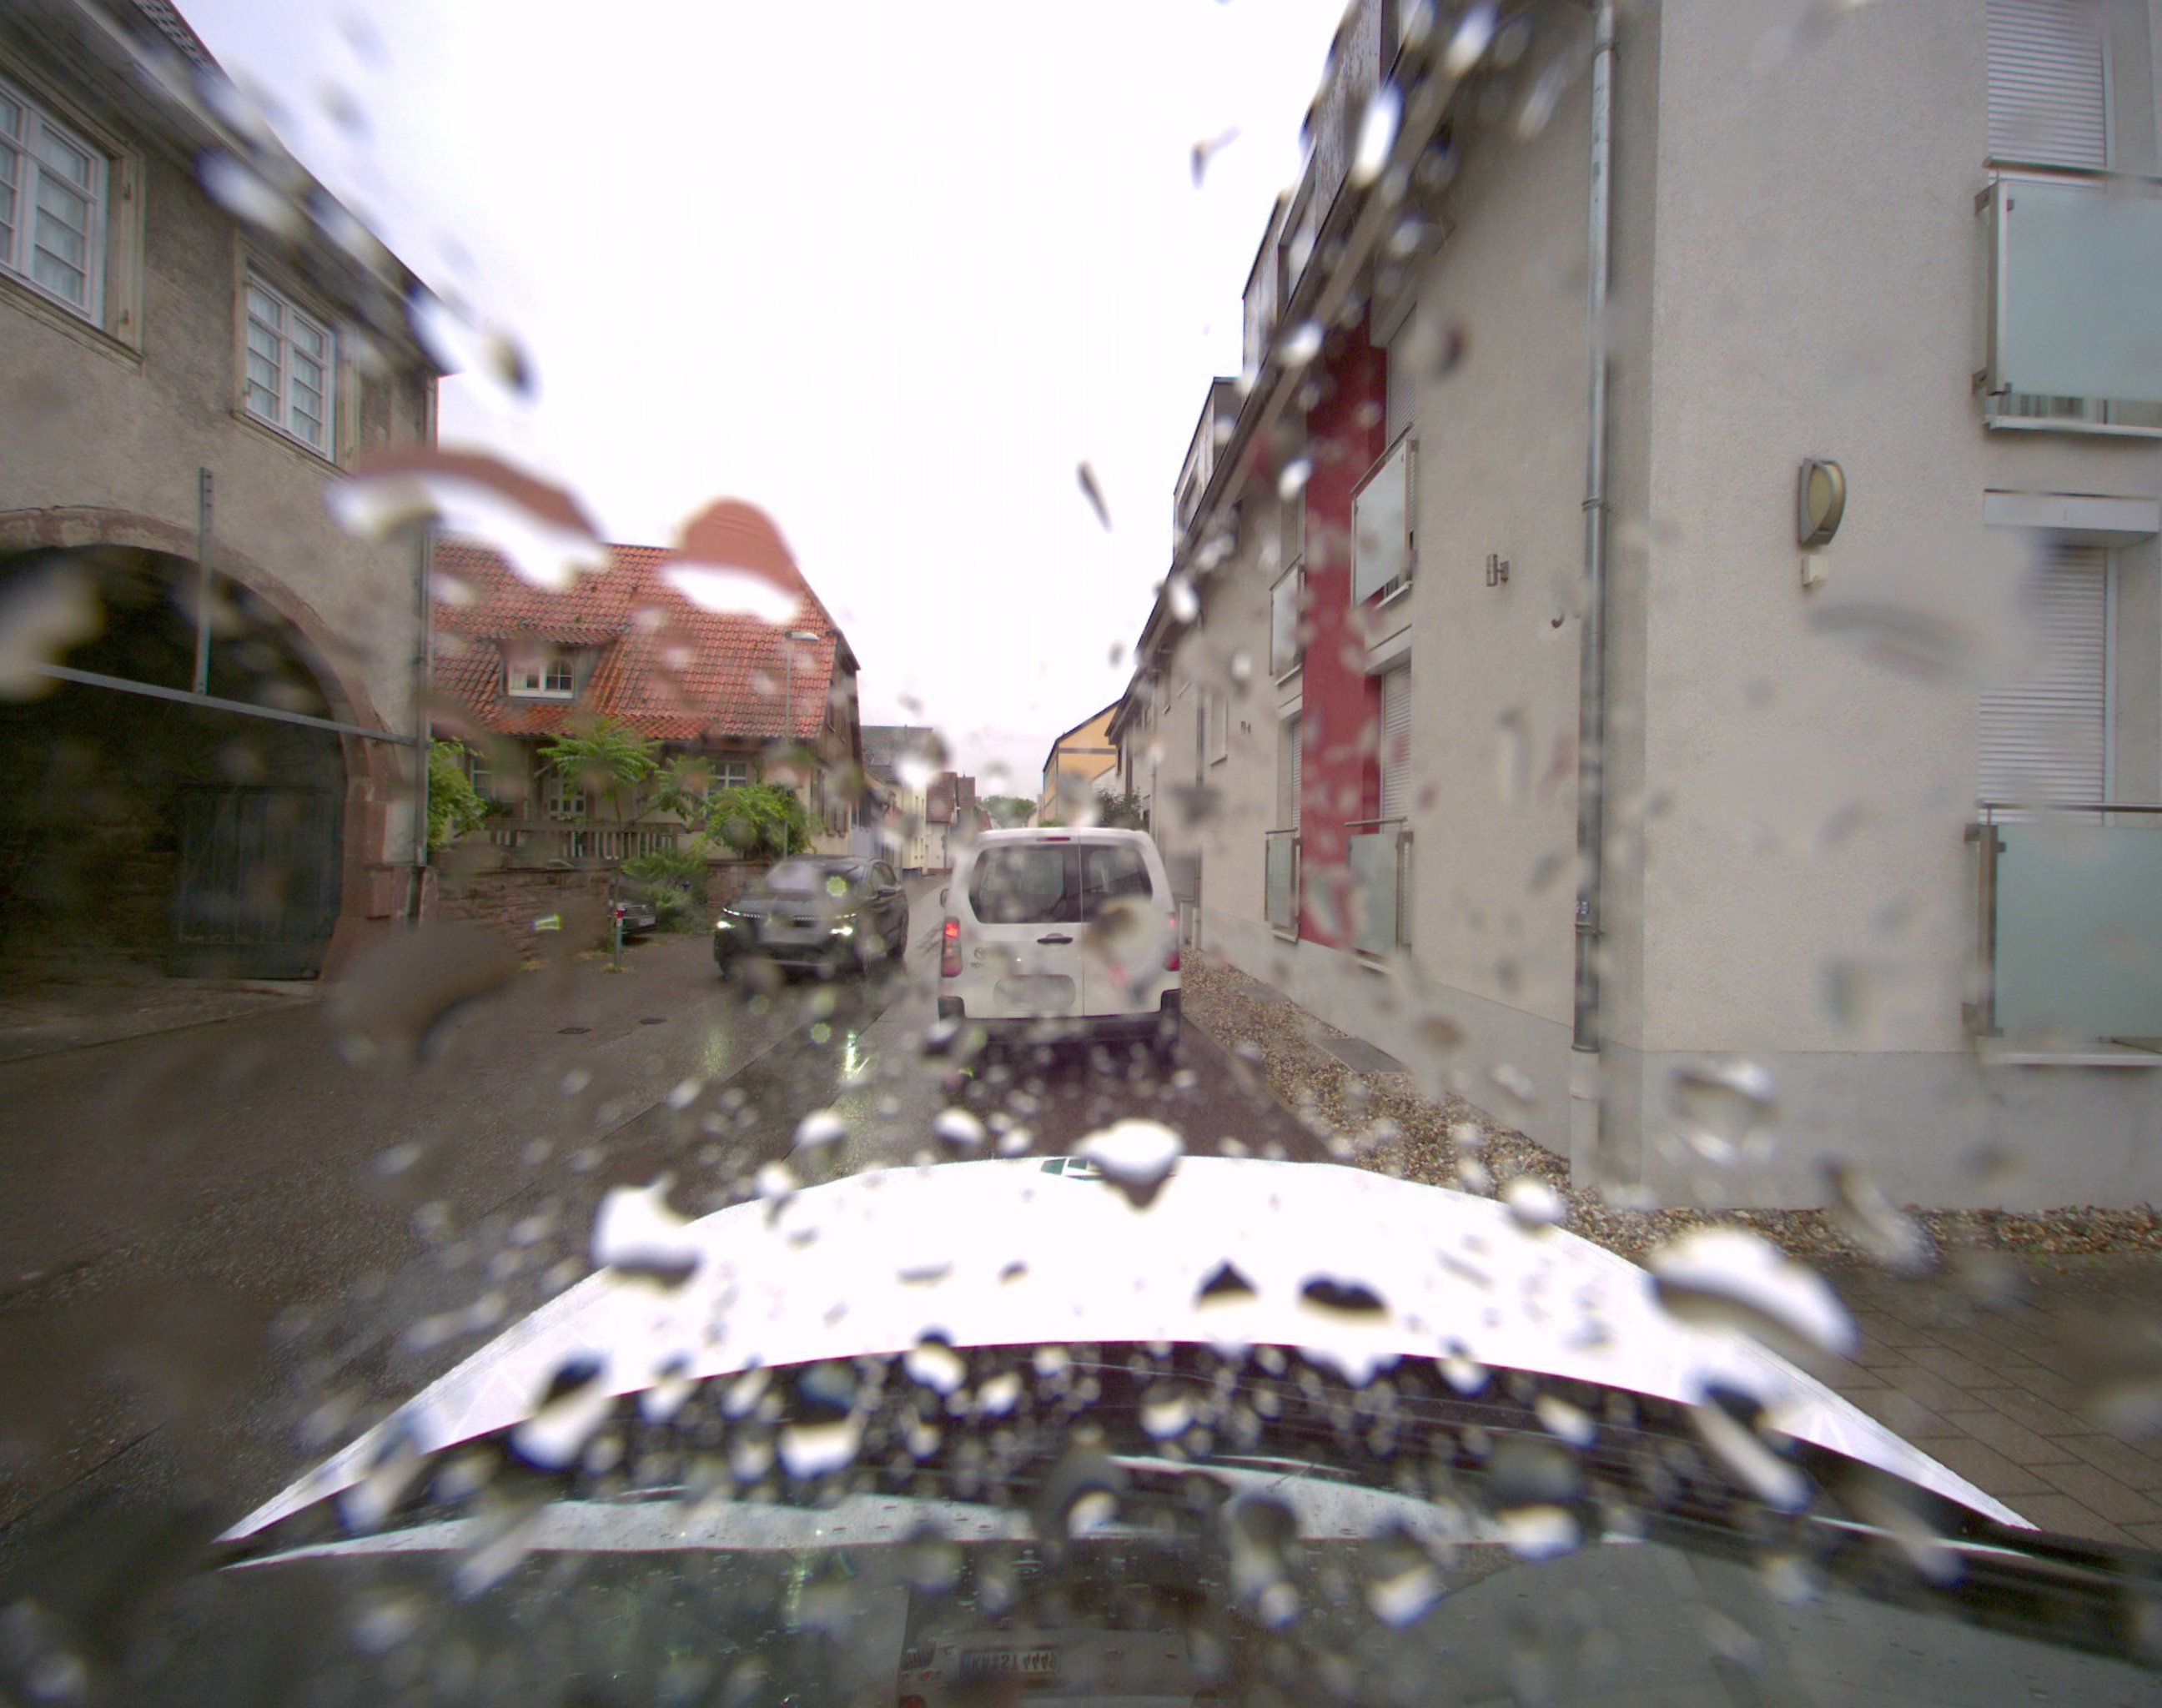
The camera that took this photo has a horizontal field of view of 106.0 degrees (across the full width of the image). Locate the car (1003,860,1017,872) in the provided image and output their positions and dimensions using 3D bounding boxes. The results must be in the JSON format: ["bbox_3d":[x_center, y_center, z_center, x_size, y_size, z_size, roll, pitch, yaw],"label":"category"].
[{"bbox_3d":[-9.016,1.468,102.952,1.559,1.477,3.989,0,-1,-7],"label":"car"}]

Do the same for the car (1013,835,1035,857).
[{"bbox_3d":[-5.327,-0.753,76.560,1.989,2.014,3.995,0,-1,-3],"label":"car"}]

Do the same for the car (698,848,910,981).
[{"bbox_3d":[-3.702,0.733,11.736,1.829,1.556,4.233,1,-1,-4],"label":"car"}]

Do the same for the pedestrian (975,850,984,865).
[{"bbox_3d":[-12.796,0.470,102.858,1.049,1.893,0.875,0,-1,-7],"label":"pedestrian"}]

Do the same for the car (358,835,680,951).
[{"bbox_3d":[-9.115,0.617,13.449,3.973,1.425,1.736,5,-1,1],"label":"car"}]

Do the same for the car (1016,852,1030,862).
[{"bbox_3d":[-8.183,0.381,114.505,1.778,1.395,3.989,0,-1,-7],"label":"car"}]

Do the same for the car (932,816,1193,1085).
[{"bbox_3d":[-0.333,0.653,7.511,1.773,1.780,3.991,0,-1,-7],"label":"car"}]
